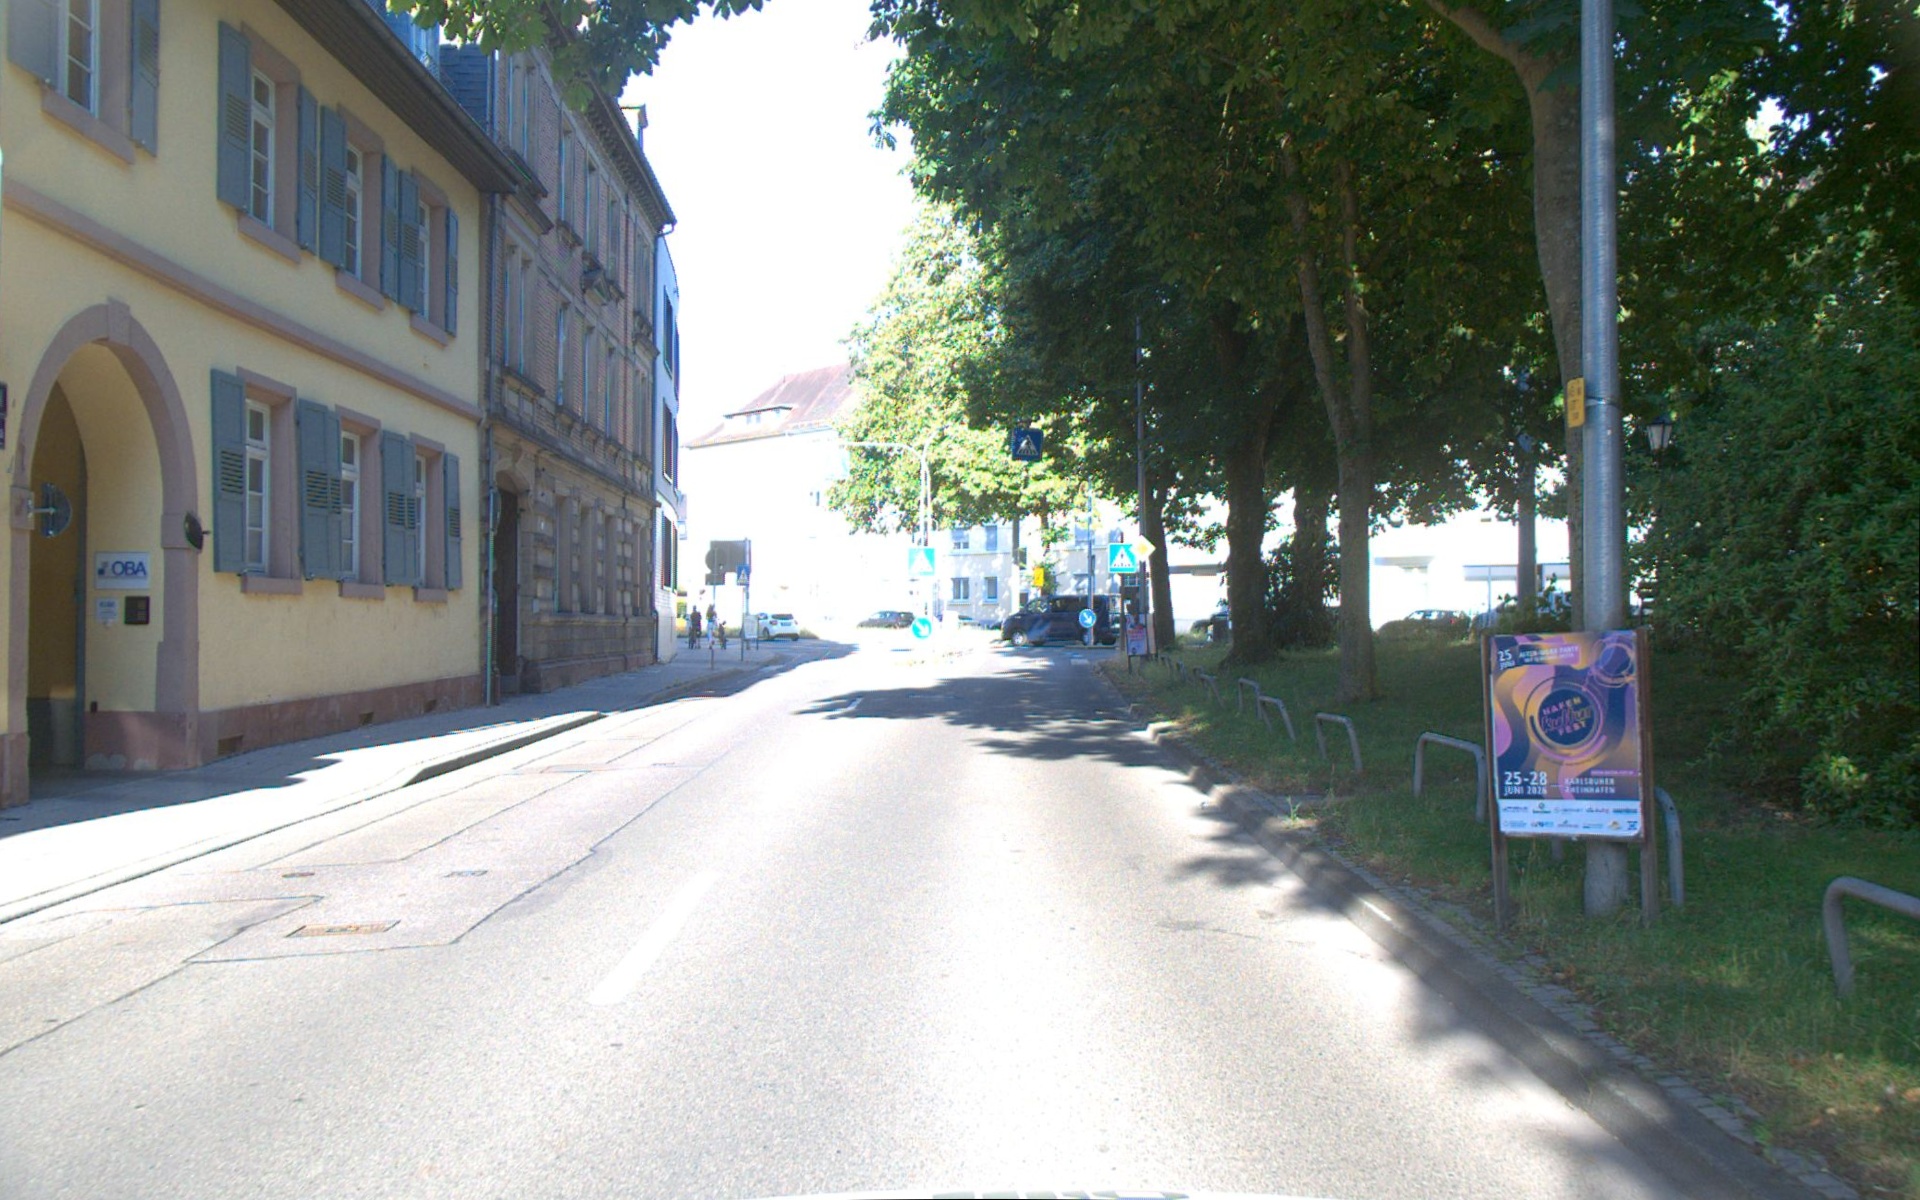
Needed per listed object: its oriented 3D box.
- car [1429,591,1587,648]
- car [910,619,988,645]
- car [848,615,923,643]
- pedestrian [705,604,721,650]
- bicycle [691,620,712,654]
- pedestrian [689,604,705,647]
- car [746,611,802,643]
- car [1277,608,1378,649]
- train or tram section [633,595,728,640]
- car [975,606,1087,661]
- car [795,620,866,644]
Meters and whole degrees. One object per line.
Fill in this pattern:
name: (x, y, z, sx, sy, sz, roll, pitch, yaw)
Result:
car: (18.705, 0.640, 56.547, 4.803, 1.887, 1.993, 0, 0, 35)
car: (-0.643, 1.799, 94.238, 1.985, 1.411, 4.373, 1, 0, -44)
car: (-4.459, 1.723, 98.356, 1.985, 1.600, 4.565, 1, -2, -44)
pedestrian: (-9.233, 1.017, 61.707, 0.467, 1.676, 0.599, 0, -3, -19)
bicycle: (-9.550, 1.372, 61.177, 0.433, 1.199, 1.956, 2, -1, -18)
pedestrian: (-9.796, 0.953, 61.645, 0.467, 1.592, 0.599, 1, -1, -20)
car: (-9.374, 1.358, 83.119, 1.931, 1.531, 3.661, 0, 0, -22)
car: (16.762, 1.285, 75.602, 1.985, 1.779, 4.140, 1, 0, -44)
train or tram section: (-23.409, 1.528, 139.168, 2.720, 3.618, 9.912, 0, -1, 25)
car: (2.768, 1.308, 64.678, 3.907, 2.049, 1.999, 1, -1, 24)
car: (-8.000, 1.981, 102.130, 4.368, 1.411, 1.987, 0, 0, 43)
